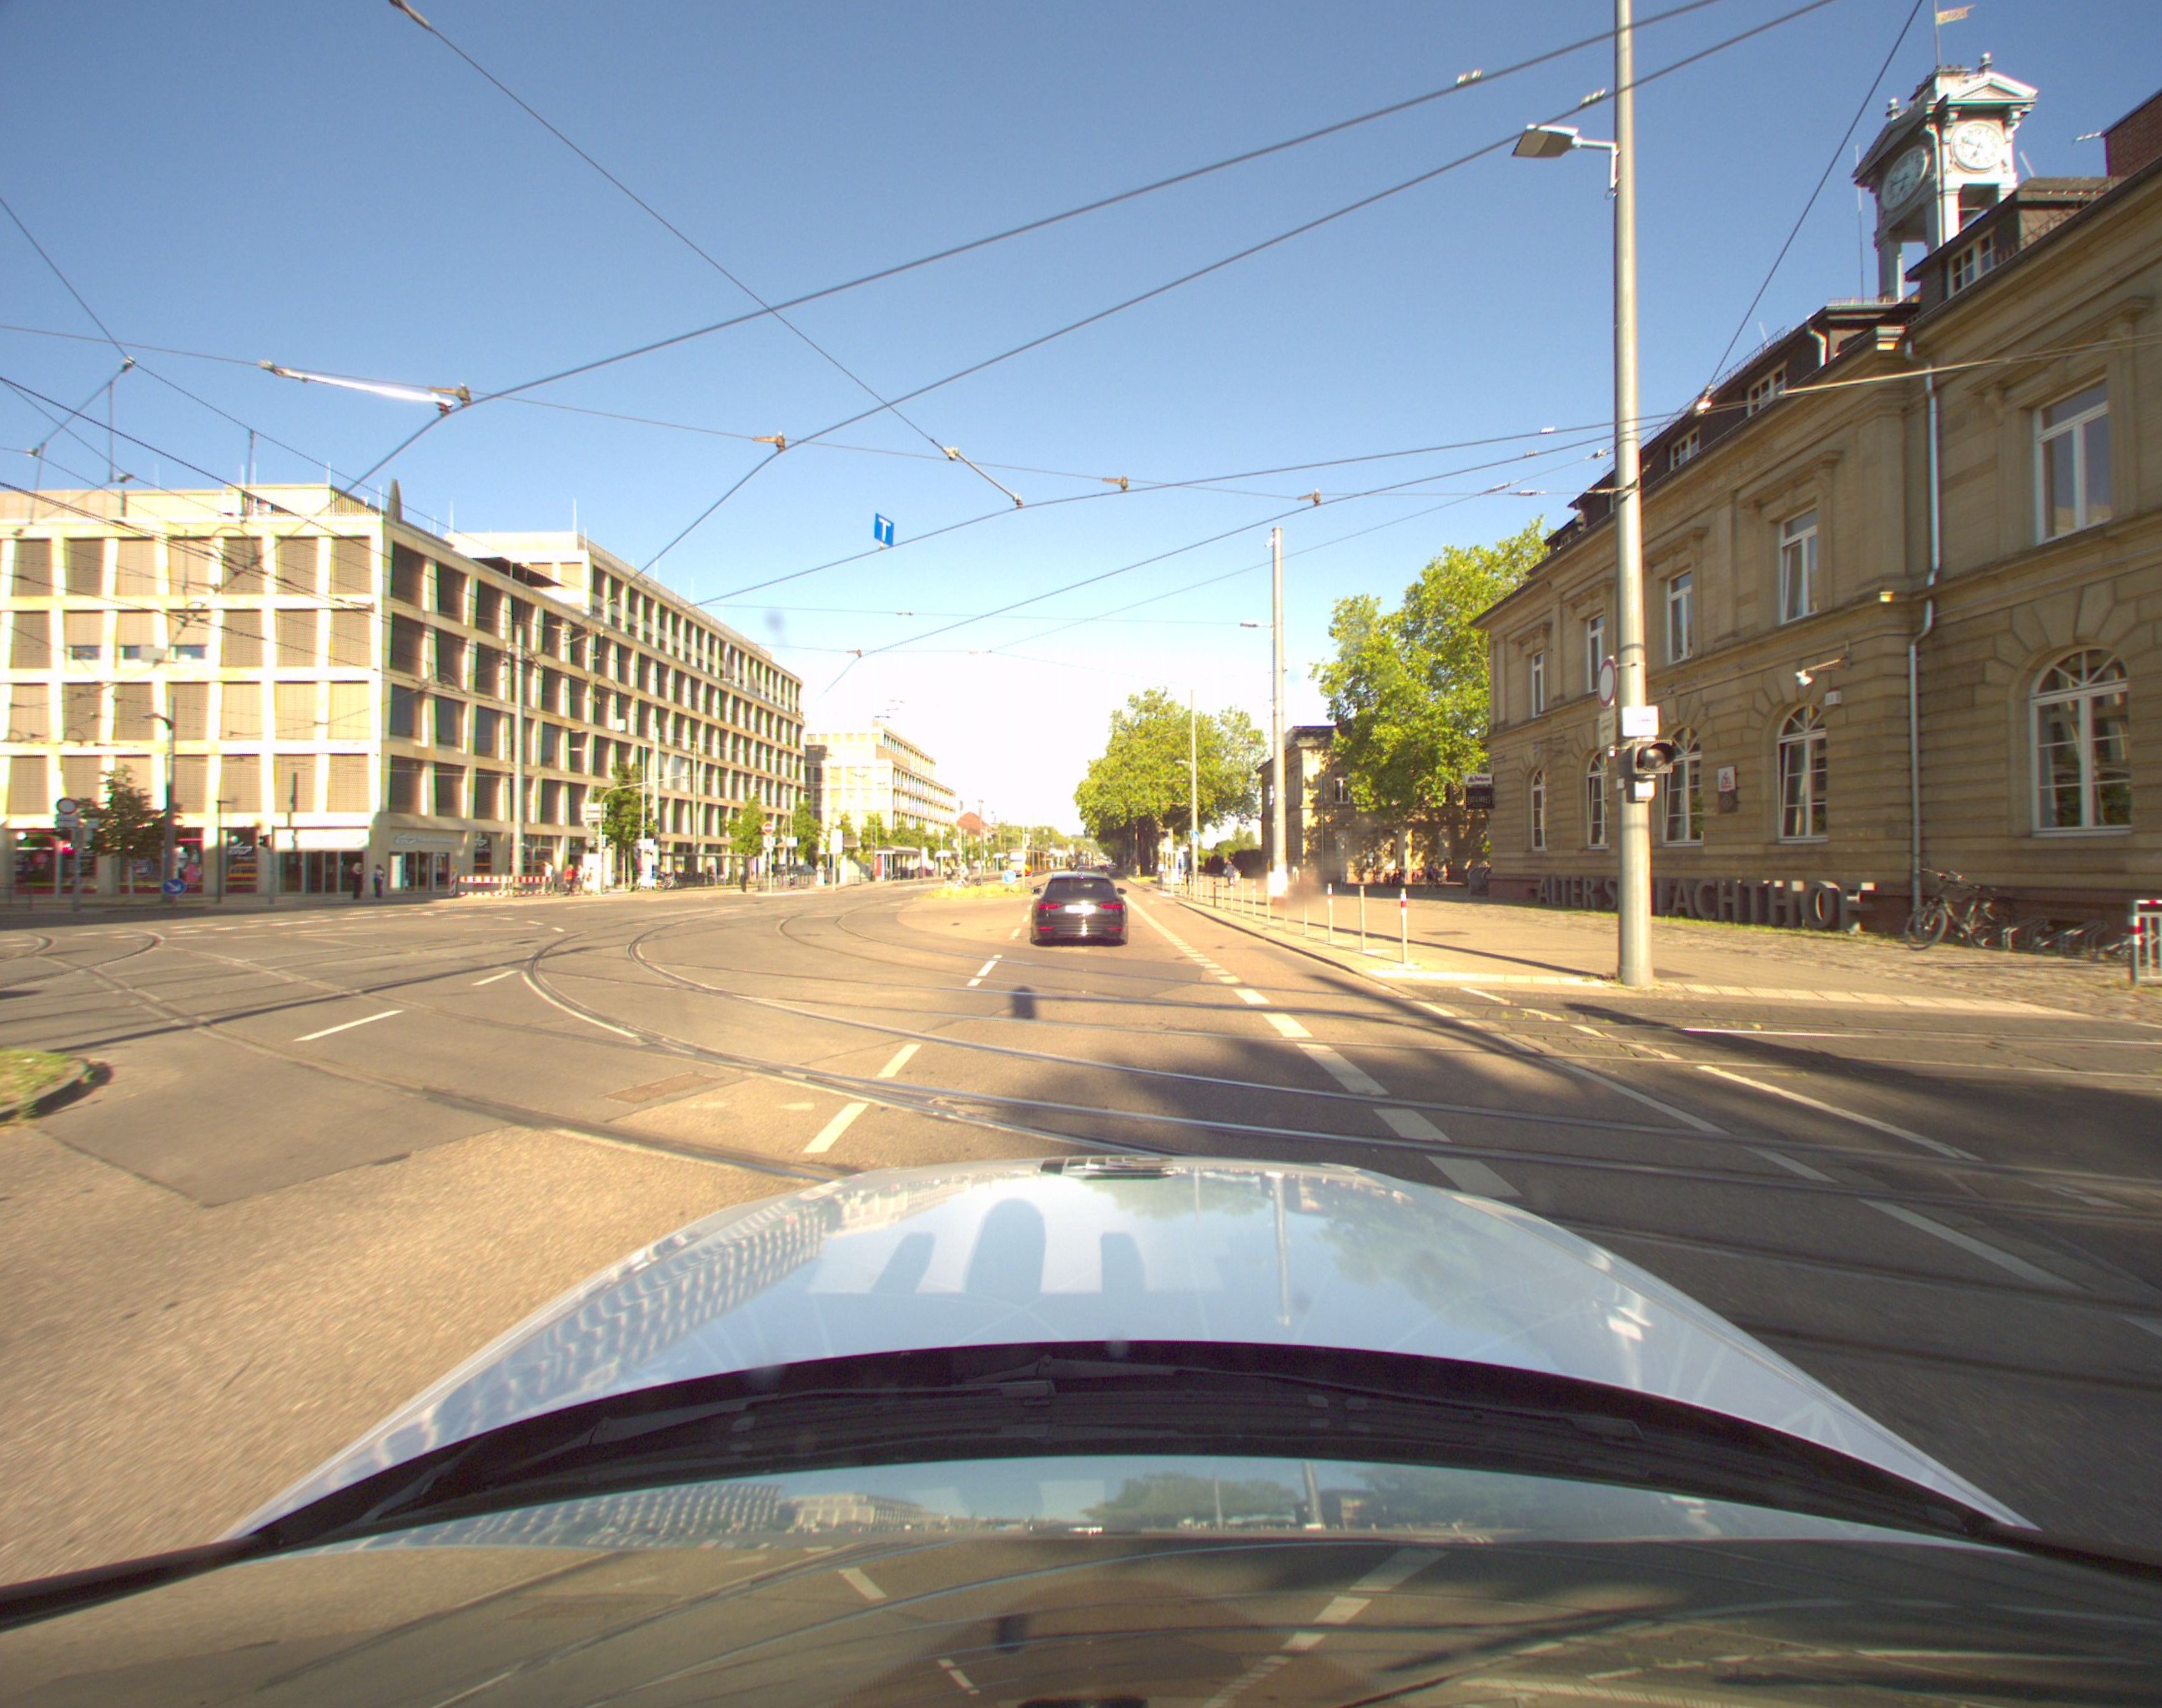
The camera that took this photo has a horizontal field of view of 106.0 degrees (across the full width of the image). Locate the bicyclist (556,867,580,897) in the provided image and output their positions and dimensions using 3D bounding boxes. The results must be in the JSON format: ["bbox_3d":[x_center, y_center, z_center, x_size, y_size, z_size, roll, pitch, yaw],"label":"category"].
[{"bbox_3d":[-26.907,1.463,42.733,0.700,1.525,0.787,-1,-1,10],"label":"bicyclist"}]

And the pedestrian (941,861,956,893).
[{"bbox_3d":[-7.266,1.273,44.714,0.738,1.741,0.663,0,-1,-4],"label":"pedestrian"}]

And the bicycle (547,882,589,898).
[{"bbox_3d":[-26.940,1.885,42.776,1.962,0.775,0.621,-1,-1,9],"label":"bicycle"}]

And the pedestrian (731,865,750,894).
[{"bbox_3d":[-18.646,1.388,44.653,0.753,1.532,0.625,-1,-1,5],"label":"pedestrian"}]

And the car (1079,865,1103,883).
[{"bbox_3d":[0.895,1.707,70.808,1.895,1.486,4.146,0,-1,2],"label":"car"}]

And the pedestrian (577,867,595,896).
[{"bbox_3d":[-26.598,1.473,43.773,0.590,1.525,0.585,-1,-1,10],"label":"pedestrian"}]

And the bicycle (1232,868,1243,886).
[{"bbox_3d":[10.040,1.462,52.318,0.433,1.145,1.340,0,-1,0],"label":"bicycle"}]

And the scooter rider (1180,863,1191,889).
[{"bbox_3d":[5.707,1.205,44.512,0.483,1.386,0.377,-1,-2,0],"label":"scooter rider"}]

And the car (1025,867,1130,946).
[{"bbox_3d":[0.027,0.996,16.898,1.895,1.422,4.146,0,-1,2],"label":"car"}]

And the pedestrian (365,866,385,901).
[{"bbox_3d":[-33.476,1.388,38.616,0.581,1.636,0.539,-1,-1,23],"label":"pedestrian"}]

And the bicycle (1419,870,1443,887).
[{"bbox_3d":[22.074,1.527,51.395,0.524,1.047,2.228,0,0,-2],"label":"bicycle"}]

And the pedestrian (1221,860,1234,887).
[{"bbox_3d":[9.419,1.243,52.310,0.680,1.661,0.758,0,-1,0],"label":"pedestrian"}]

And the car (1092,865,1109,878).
[{"bbox_3d":[2.247,2.026,94.250,1.895,1.486,4.146,0,-1,2],"label":"car"}]

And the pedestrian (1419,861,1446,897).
[{"bbox_3d":[18.334,1.280,42.474,0.979,1.865,0.823,0,-1,-11],"label":"pedestrian"}]

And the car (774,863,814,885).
[{"bbox_3d":[-24.560,1.714,69.834,1.835,1.812,4.113,-1,-1,1],"label":"car"}]

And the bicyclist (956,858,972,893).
[{"bbox_3d":[-6.140,1.125,42.818,0.758,1.819,0.761,0,-1,-15],"label":"bicyclist"}]

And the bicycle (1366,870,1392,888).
[{"bbox_3d":[18.549,1.537,50.754,0.525,1.047,2.354,0,0,-6],"label":"bicycle"}]

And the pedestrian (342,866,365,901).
[{"bbox_3d":[-34.123,1.365,38.205,0.582,1.636,0.538,-1,-1,14],"label":"pedestrian"}]

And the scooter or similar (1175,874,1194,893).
[{"bbox_3d":[5.664,1.609,44.497,0.935,0.966,0.361,-1,-2,-1],"label":"scooter or similar"}]

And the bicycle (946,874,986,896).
[{"bbox_3d":[-6.051,1.634,42.813,2.009,1.108,0.761,0,-1,-15],"label":"bicycle"}]

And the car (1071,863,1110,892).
[{"bbox_3d":[0.544,1.225,43.041,1.895,1.486,4.146,0,-1,2],"label":"car"}]

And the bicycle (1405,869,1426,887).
[{"bbox_3d":[21.010,1.502,51.209,0.523,1.047,2.232,-1,0,3],"label":"bicycle"}]

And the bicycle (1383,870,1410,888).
[{"bbox_3d":[19.609,1.556,50.709,0.525,1.047,2.354,0,0,-6],"label":"bicycle"}]

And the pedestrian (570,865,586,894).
[{"bbox_3d":[-27.806,1.407,45.019,0.575,1.574,0.599,-1,-1,39],"label":"pedestrian"}]

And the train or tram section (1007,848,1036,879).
[{"bbox_3d":[-7.022,1.074,97.105,2.600,3.451,11.130,0,0,0],"label":"train or tram section"}]

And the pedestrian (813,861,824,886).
[{"bbox_3d":[-17.894,1.317,55.486,0.620,1.664,0.510,0,-1,-23],"label":"pedestrian"}]

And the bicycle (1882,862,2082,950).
[{"bbox_3d":[13.474,0.764,12.218,2.130,1.209,0.765,-2,-1,0],"label":"bicycle"}]
